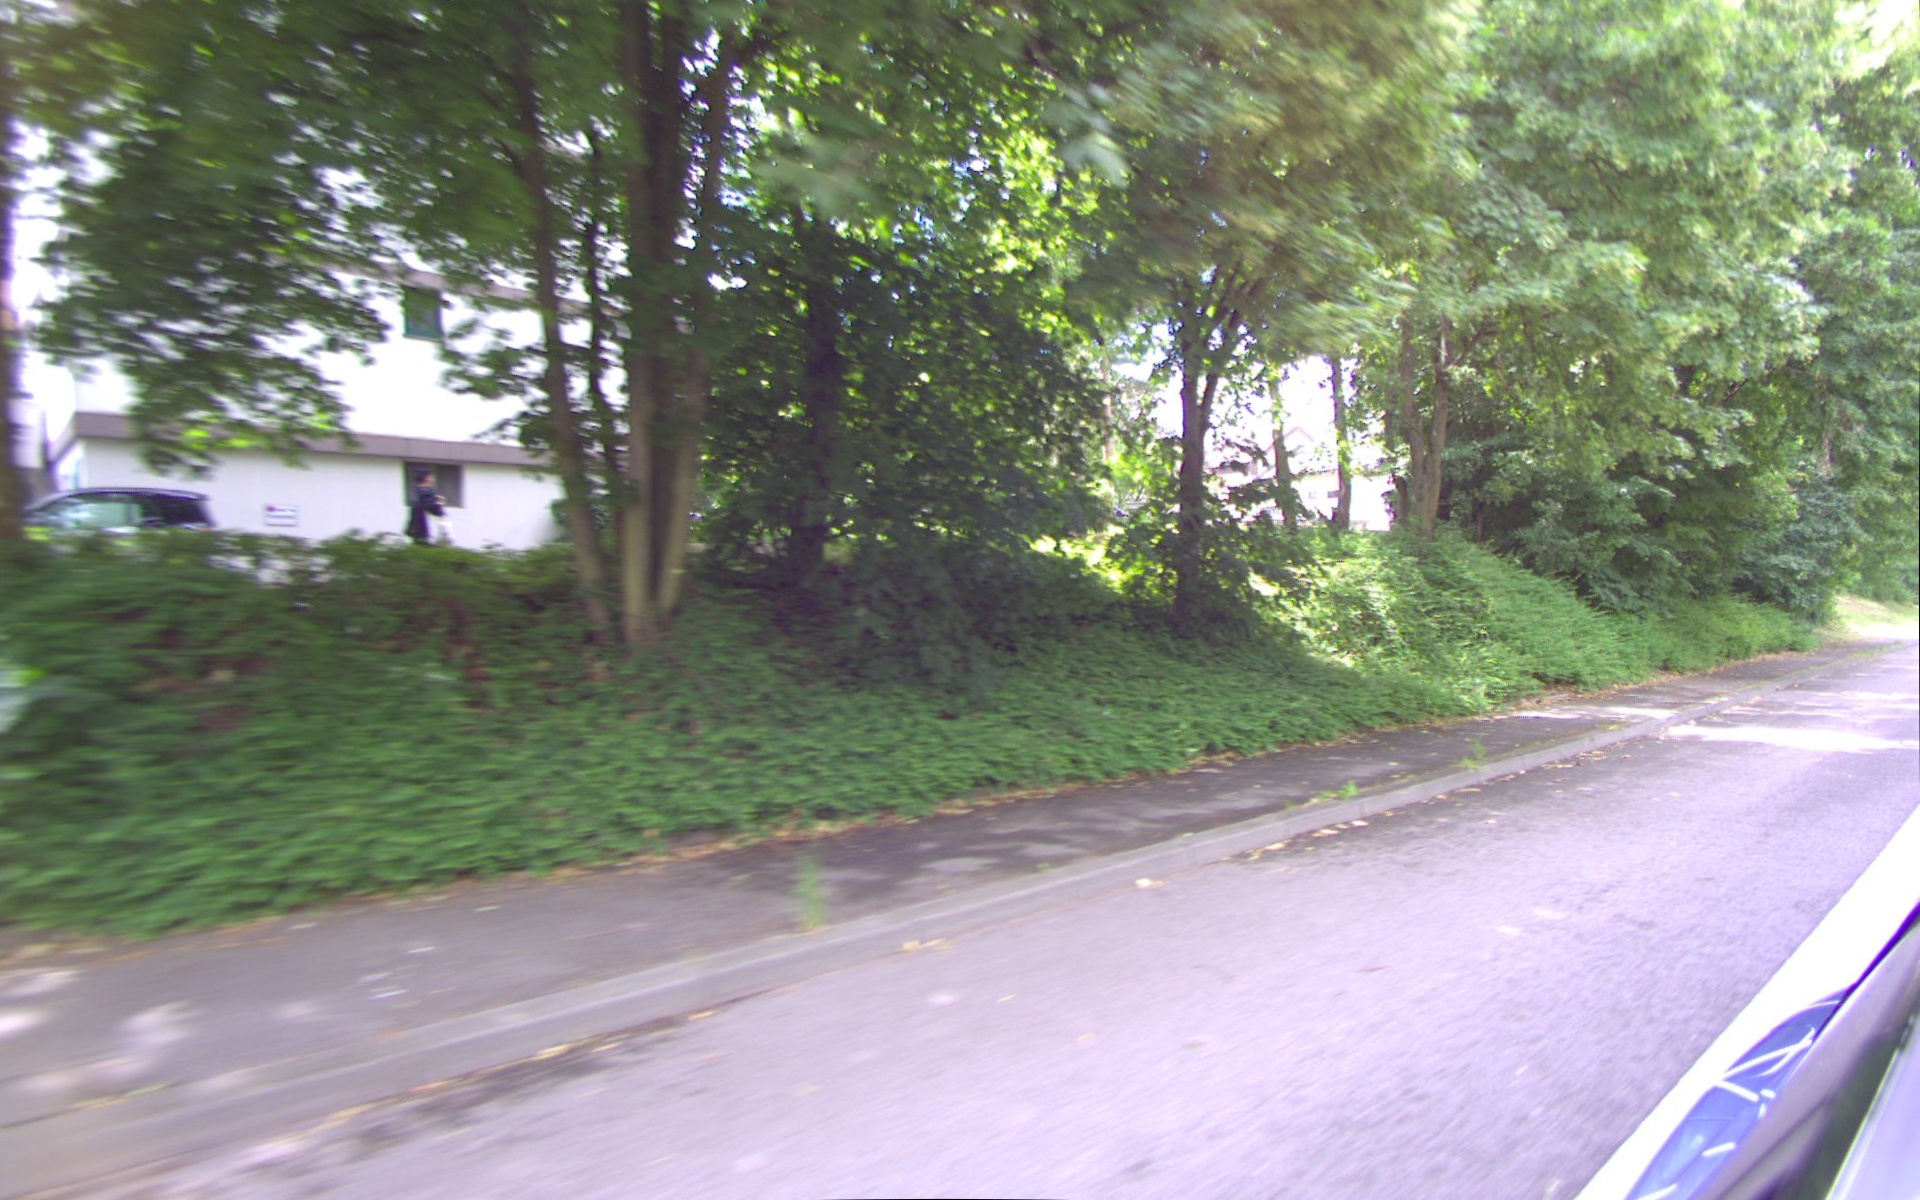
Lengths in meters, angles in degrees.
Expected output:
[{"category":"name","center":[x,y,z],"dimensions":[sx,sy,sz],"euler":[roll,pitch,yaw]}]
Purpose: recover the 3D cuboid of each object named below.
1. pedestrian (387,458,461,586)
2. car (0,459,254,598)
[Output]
[{"category":"pedestrian","center":[-7.257,-1.025,13.697],"dimensions":[0.754,1.653,0.669],"euler":[0,0,-41]},{"category":"car","center":[-10.380,-0.777,11.735],"dimensions":[3.485,1.478,1.661],"euler":[0,1,-40]}]
